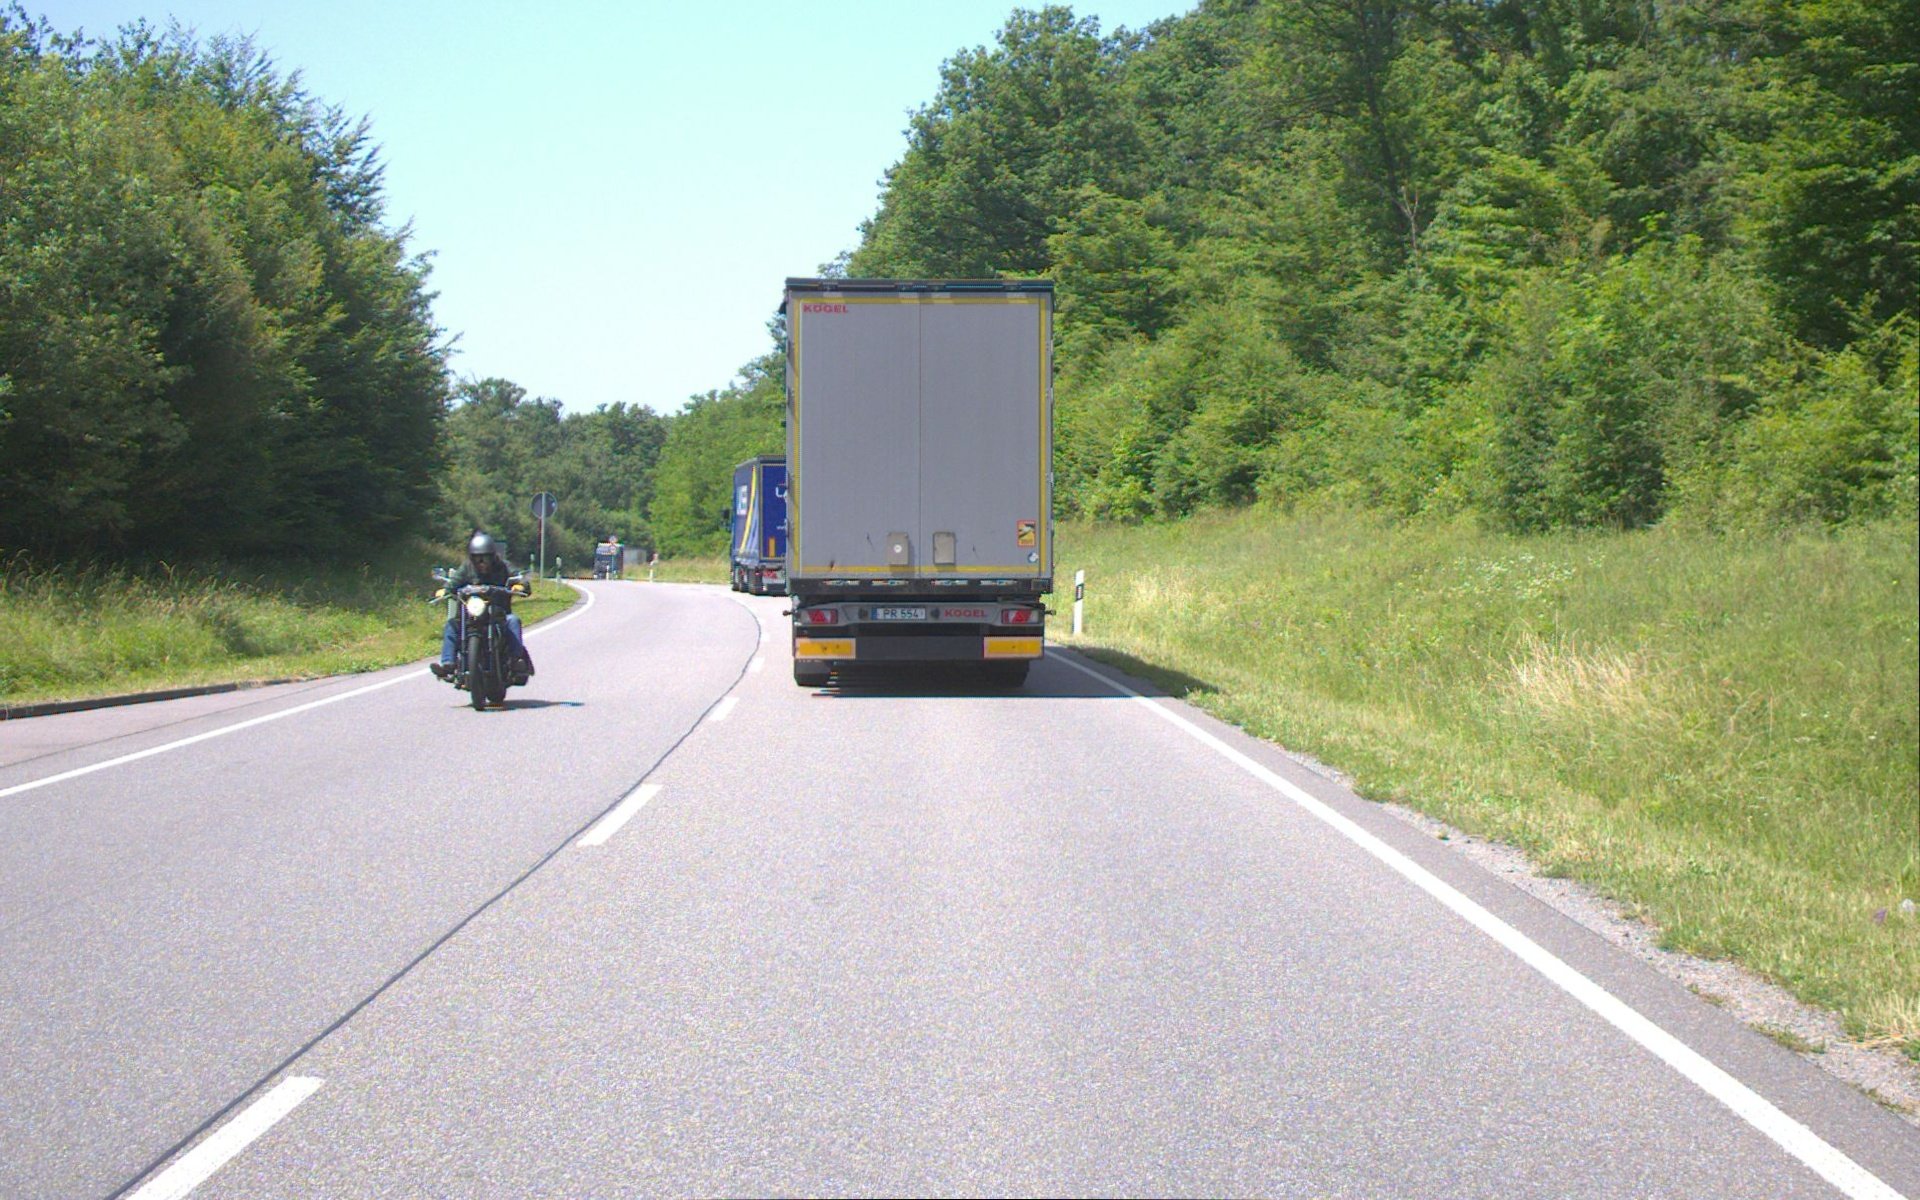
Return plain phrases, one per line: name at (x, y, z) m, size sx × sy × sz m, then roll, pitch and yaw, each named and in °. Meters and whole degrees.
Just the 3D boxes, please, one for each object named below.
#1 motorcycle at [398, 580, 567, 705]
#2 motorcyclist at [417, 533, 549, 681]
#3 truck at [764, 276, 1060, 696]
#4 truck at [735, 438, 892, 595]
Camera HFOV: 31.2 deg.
motorcycle at (-4.338, 0.363, 31.489) m, size 1.014 × 1.059 × 2.772 m, roll 0°, pitch 1°, yaw 3°
motorcyclist at (-4.347, 0.055, 31.385) m, size 1.010 × 1.322 × 0.965 m, roll 0°, pitch 1°, yaw 4°
truck at (-0.581, -1.173, 38.540) m, size 2.761 × 3.933 × 12.198 m, roll 0°, pitch 1°, yaw -1°
truck at (-4.613, -2.499, 104.429) m, size 3.792 × 4.358 × 14.923 m, roll 1°, pitch 1°, yaw -6°
